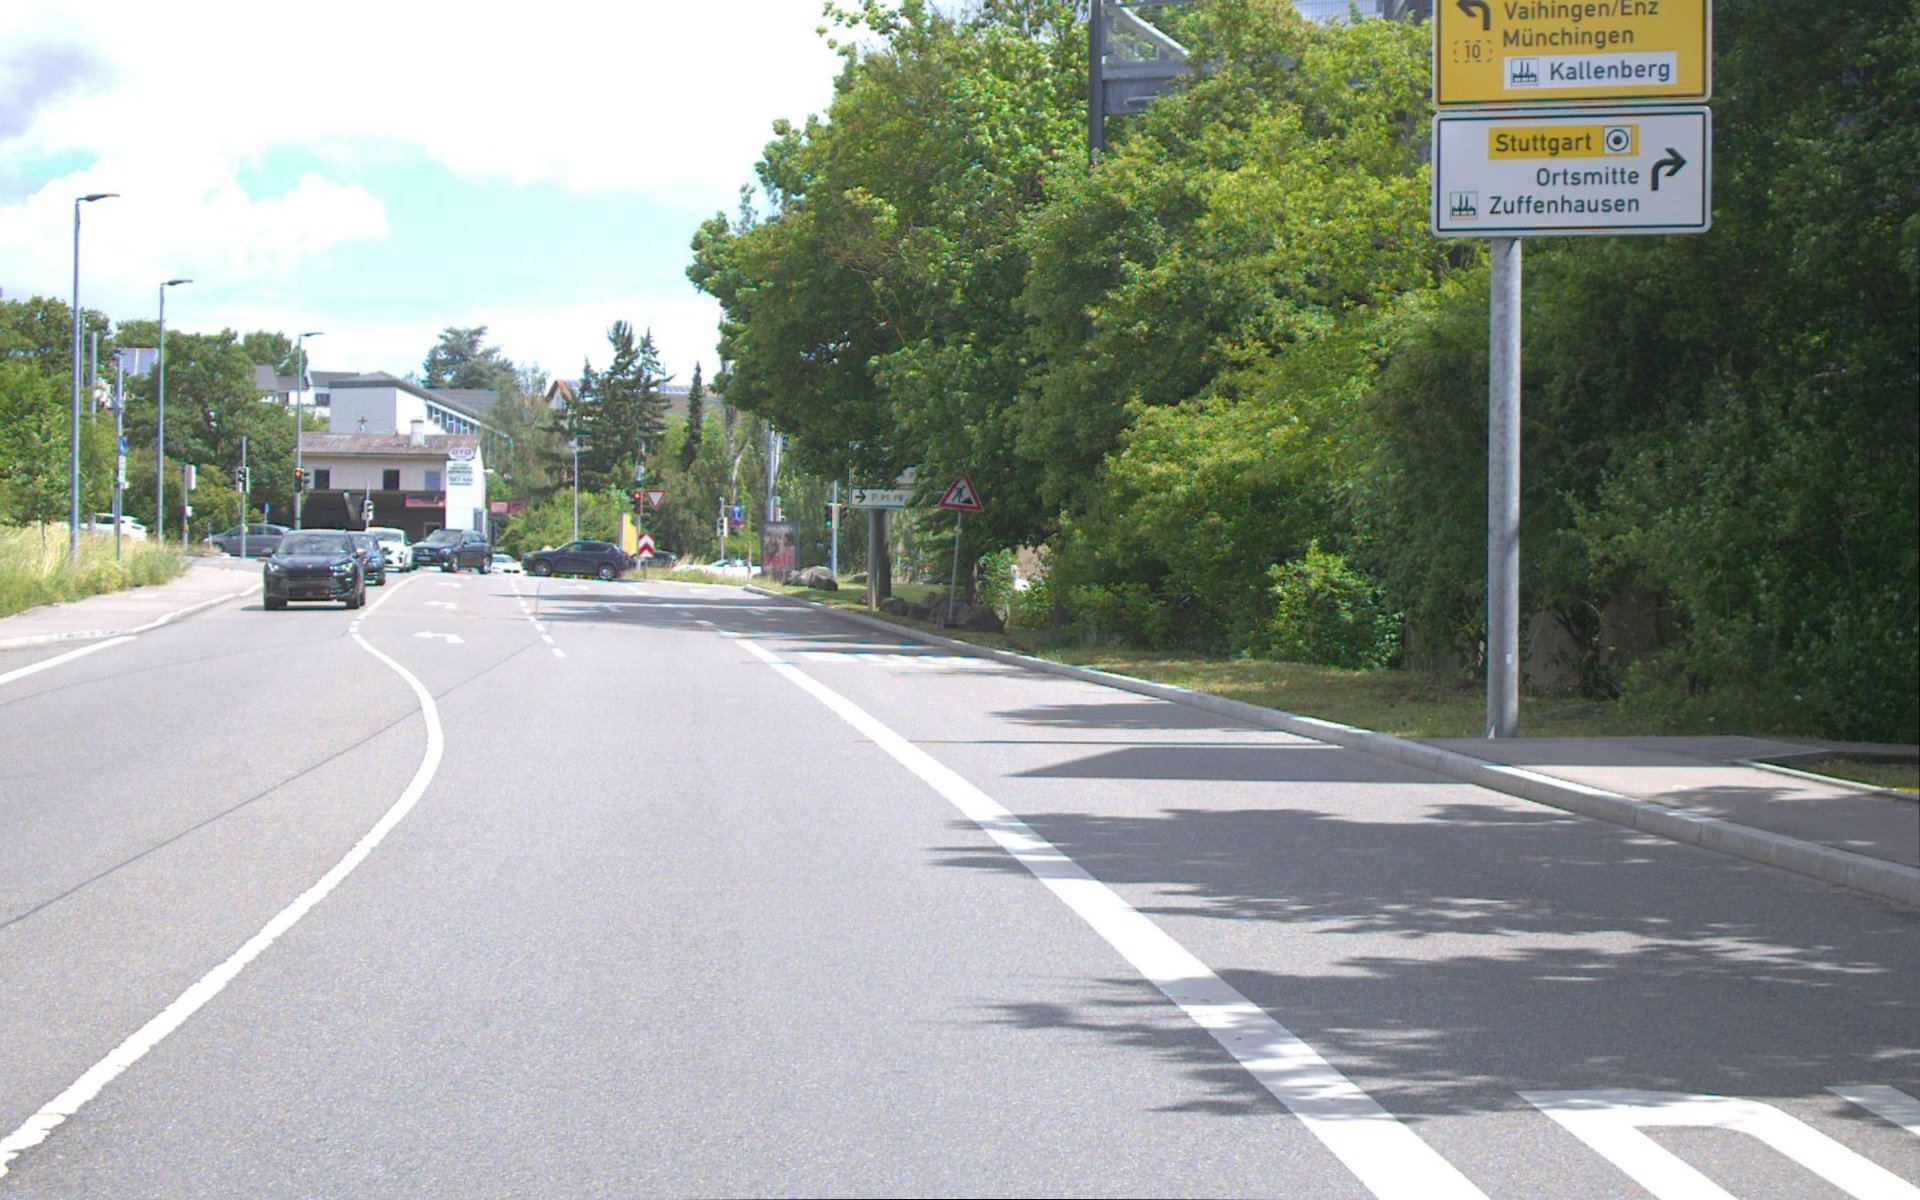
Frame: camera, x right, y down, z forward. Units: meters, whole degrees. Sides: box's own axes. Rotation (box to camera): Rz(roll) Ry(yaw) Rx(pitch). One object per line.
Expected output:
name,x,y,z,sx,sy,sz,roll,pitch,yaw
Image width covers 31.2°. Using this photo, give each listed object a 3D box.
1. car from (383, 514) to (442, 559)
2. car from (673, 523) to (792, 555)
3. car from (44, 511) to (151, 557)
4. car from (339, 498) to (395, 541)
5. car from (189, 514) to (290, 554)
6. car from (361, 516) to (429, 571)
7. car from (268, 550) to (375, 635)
car,-20.835,-2.423,130.902,1.821,1.648,4.534,0,1,-4
car,-9.424,-2.522,142.174,4.593,1.287,1.911,0,1,-18
car,-36.434,-2.796,145.251,3.987,1.897,2.000,0,1,2
car,-19.888,-2.693,115.457,1.766,1.437,3.901,0,1,-9
car,-31.196,-2.849,148.942,3.986,1.706,1.895,0,1,-1
car,-15.134,-1.520,92.228,1.766,1.437,4.378,0,1,-9
car,-12.734,-0.181,68.797,1.822,1.552,4.630,-1,2,-7
